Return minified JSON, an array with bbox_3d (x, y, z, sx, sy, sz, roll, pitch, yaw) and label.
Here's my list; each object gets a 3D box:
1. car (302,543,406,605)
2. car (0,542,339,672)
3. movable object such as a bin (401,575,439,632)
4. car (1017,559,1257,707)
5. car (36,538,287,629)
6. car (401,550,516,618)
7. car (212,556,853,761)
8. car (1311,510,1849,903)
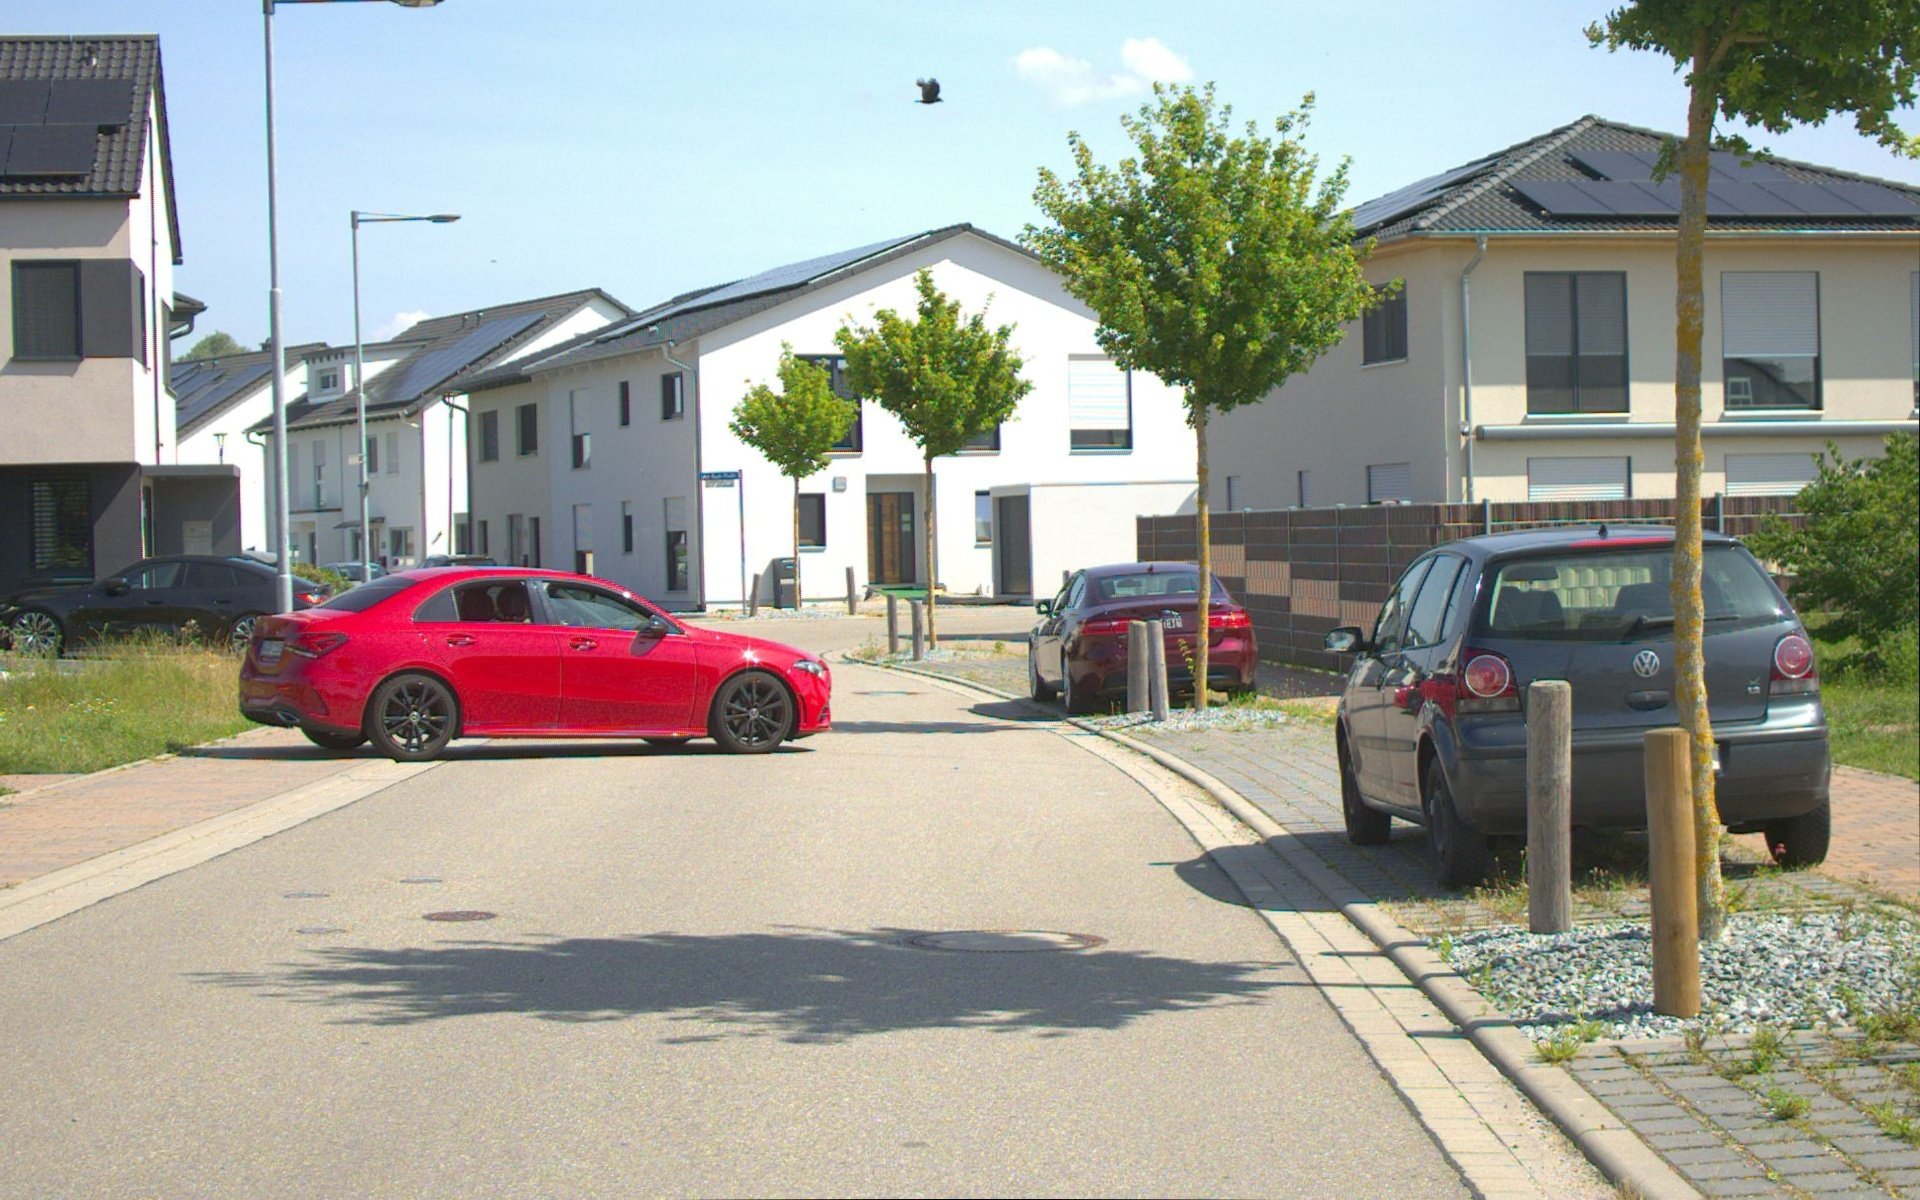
[{"bbox_3d":[-15.097,-0.652,85.522,1.676,1.459,3.945,-2,1,-22],"label":"car"},{"bbox_3d":[-10.627,0.088,46.232,4.374,1.626,1.771,1,0,-8],"label":"car"},{"bbox_3d":[-8.875,0.058,56.518,0.534,0.933,0.526,1,1,1],"label":"movable object such as a bin"},{"bbox_3d":[1.694,0.281,34.407,1.754,1.358,4.576,0,1,-5],"label":"car"},{"bbox_3d":[-13.633,-0.303,58.868,3.986,1.481,1.755,-1,1,-6],"label":"car"},{"bbox_3d":[-11.188,-0.356,76.540,1.726,1.418,4.001,-2,1,-20],"label":"car"},{"bbox_3d":[-3.221,0.388,26.134,4.504,1.433,1.768,-1,1,-29],"label":"car"},{"bbox_3d":[2.636,0.389,15.400,1.598,1.470,3.675,-3,1,-1],"label":"car"}]
